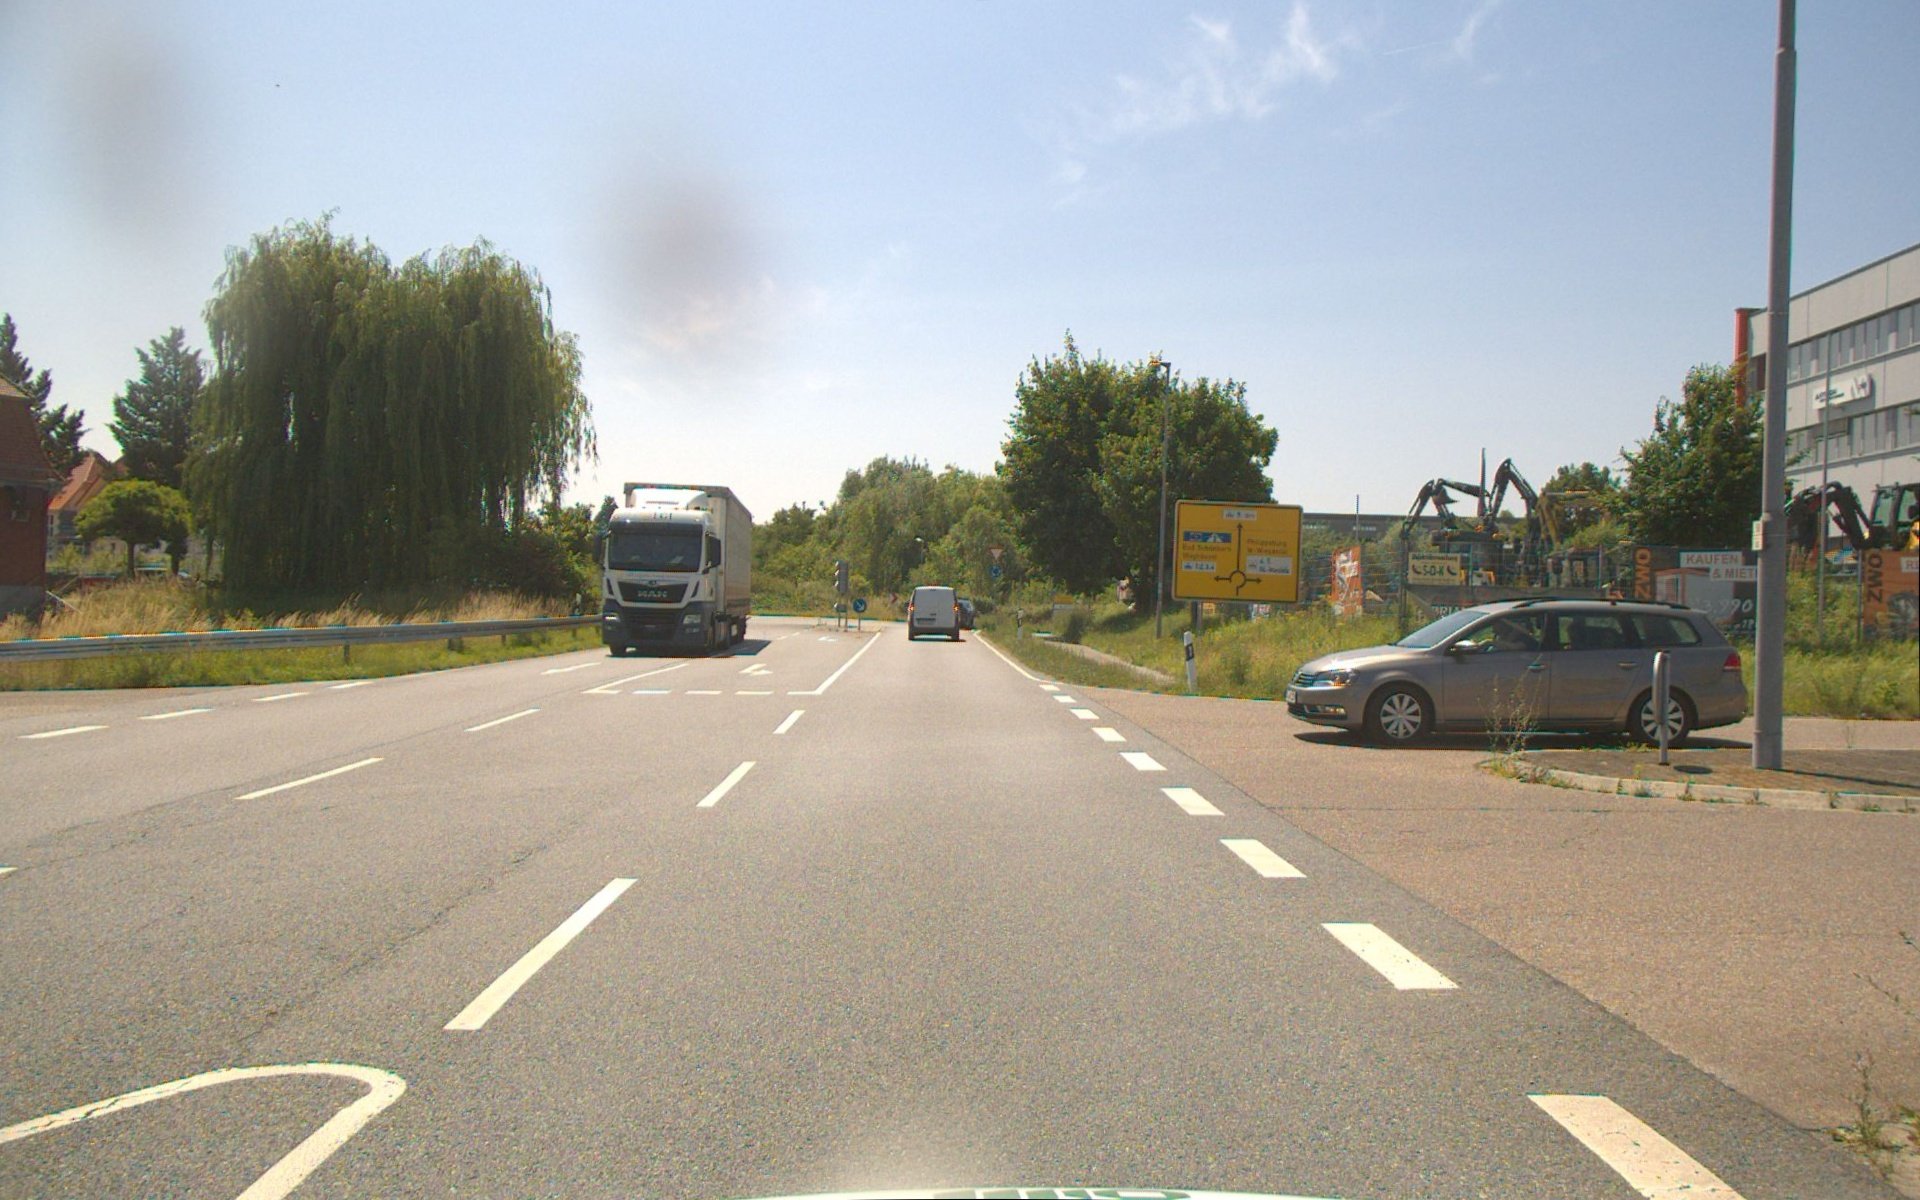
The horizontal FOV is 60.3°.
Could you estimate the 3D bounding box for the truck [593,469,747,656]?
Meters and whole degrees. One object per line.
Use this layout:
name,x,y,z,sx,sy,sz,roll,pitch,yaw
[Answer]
truck,-7.081,-0.878,41.311,2.734,4.127,6.750,3,0,-3

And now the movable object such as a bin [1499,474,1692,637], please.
movable object such as a bin,22.795,-1.531,59.587,5.598,5.361,3.222,3,-2,2

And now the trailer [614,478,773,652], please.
trailer,-7.342,-0.924,47.552,2.734,4.127,13.496,3,0,-3

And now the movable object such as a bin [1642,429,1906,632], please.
movable object such as a bin,22.884,-1.881,46.734,5.796,5.194,3.109,3,-2,2

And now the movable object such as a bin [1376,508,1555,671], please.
movable object such as a bin,11.303,-0.137,37.413,2.276,3.307,5.099,3,-2,-1

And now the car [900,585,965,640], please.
car,-0.976,0.419,56.417,1.867,1.763,3.818,2,-1,-5

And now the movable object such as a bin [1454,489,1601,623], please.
movable object such as a bin,23.478,-1.767,68.621,4.980,5.143,2.778,3,-2,2

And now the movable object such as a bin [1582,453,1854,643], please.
movable object such as a bin,23.037,-1.502,50.628,6.455,5.237,3.806,3,-2,2

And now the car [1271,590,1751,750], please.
car,5.674,0.695,17.442,4.419,1.534,1.914,1,0,0

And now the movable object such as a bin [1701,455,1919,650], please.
movable object such as a bin,21.442,-1.096,40.739,4.980,4.350,2.835,3,-2,2

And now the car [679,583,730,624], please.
car,-10.364,0.125,66.894,1.815,1.595,3.987,0,0,-13

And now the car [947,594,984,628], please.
car,0.242,0.534,84.242,1.769,1.583,4.000,2,1,-1
